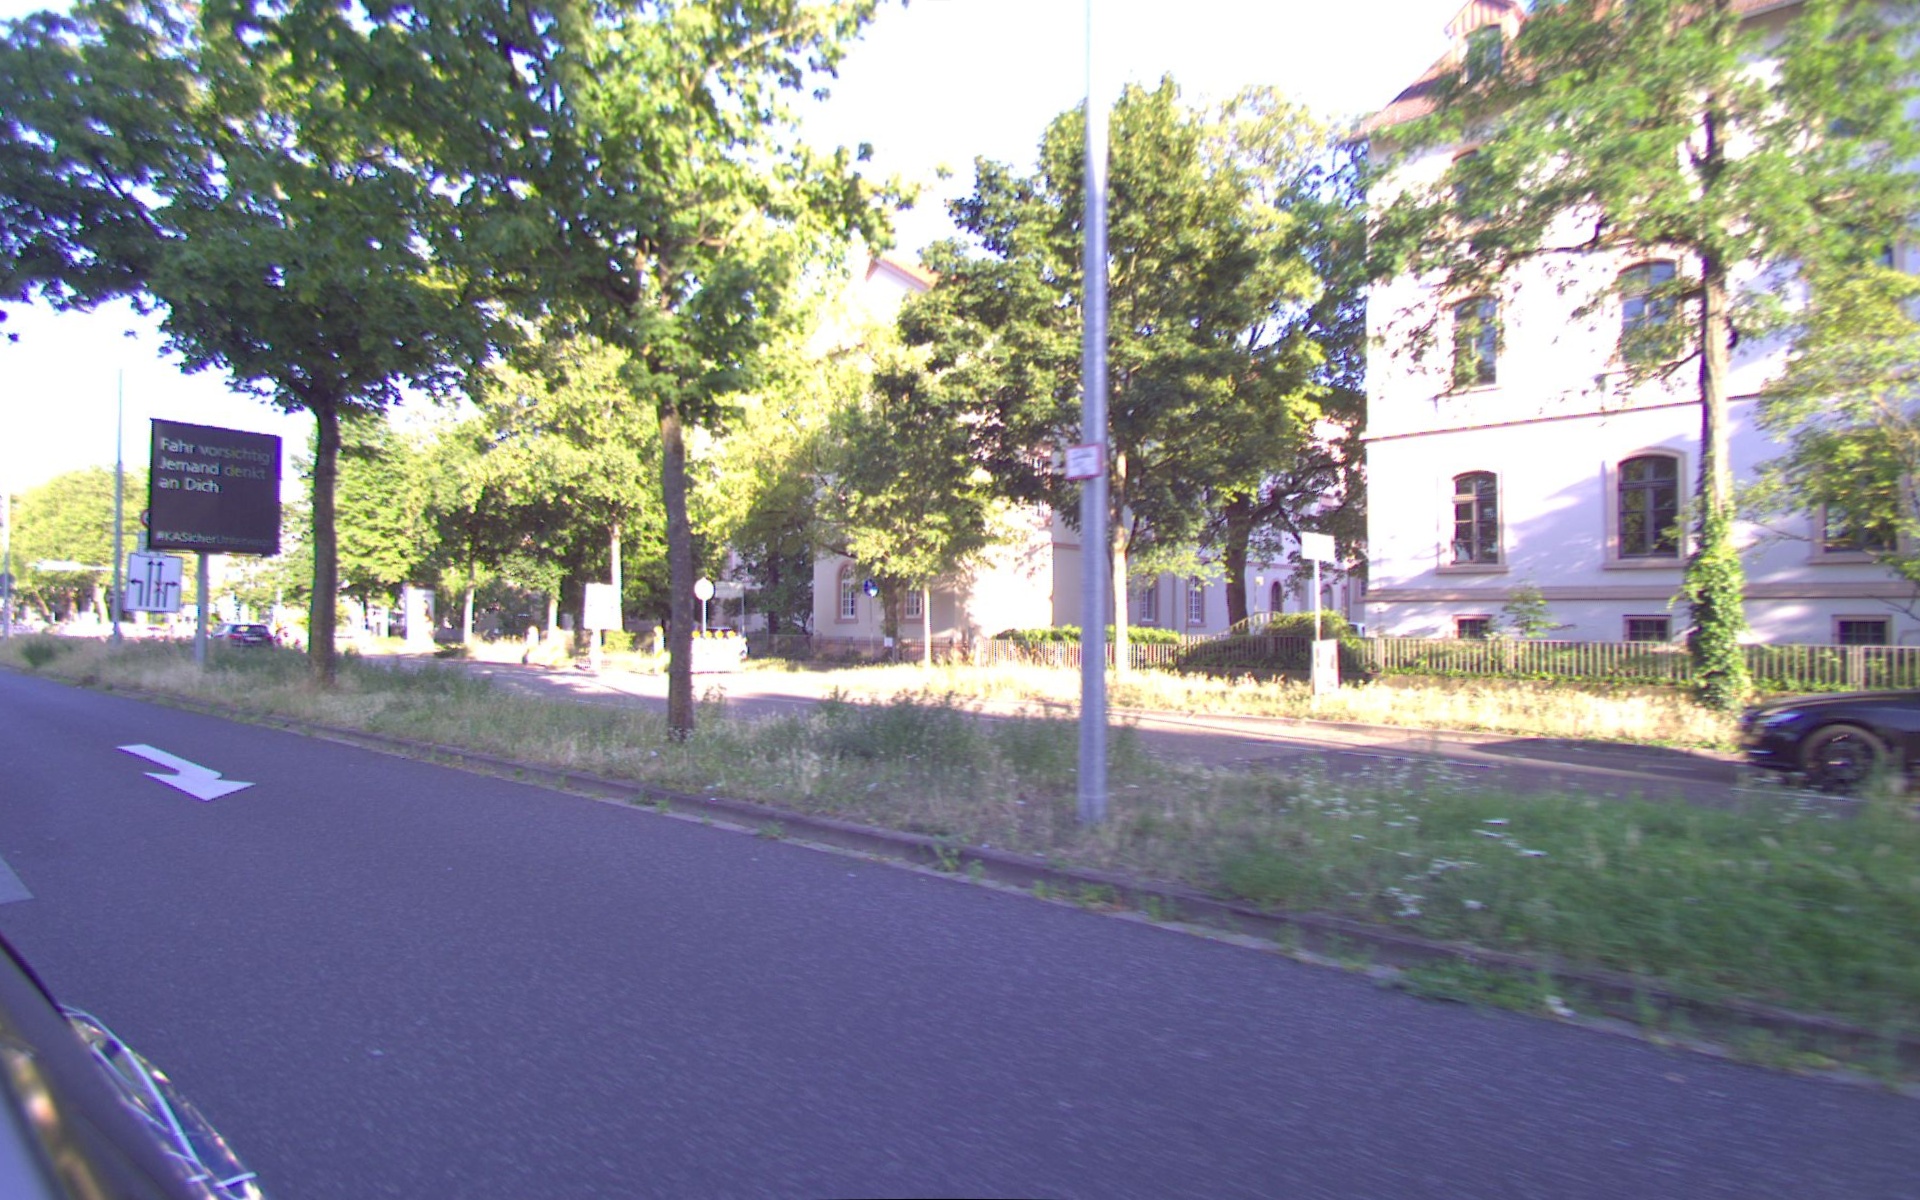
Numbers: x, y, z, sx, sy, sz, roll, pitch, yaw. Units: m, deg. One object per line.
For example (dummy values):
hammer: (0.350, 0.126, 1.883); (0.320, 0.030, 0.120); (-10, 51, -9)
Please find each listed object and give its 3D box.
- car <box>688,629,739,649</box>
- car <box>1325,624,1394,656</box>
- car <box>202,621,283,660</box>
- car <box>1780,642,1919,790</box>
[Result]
car: (-18.339, 2.887, 75.272); (3.999, 1.386, 1.676); (-1, 0, 42)
car: (20.145, 2.025, 50.936); (3.948, 1.560, 1.781); (3, -3, -44)
car: (-28.810, 1.631, 40.607); (4.007, 1.428, 1.755); (-1, -5, 42)
car: (9.791, 1.074, 8.827); (4.007, 1.283, 1.755); (-1, -5, 42)
